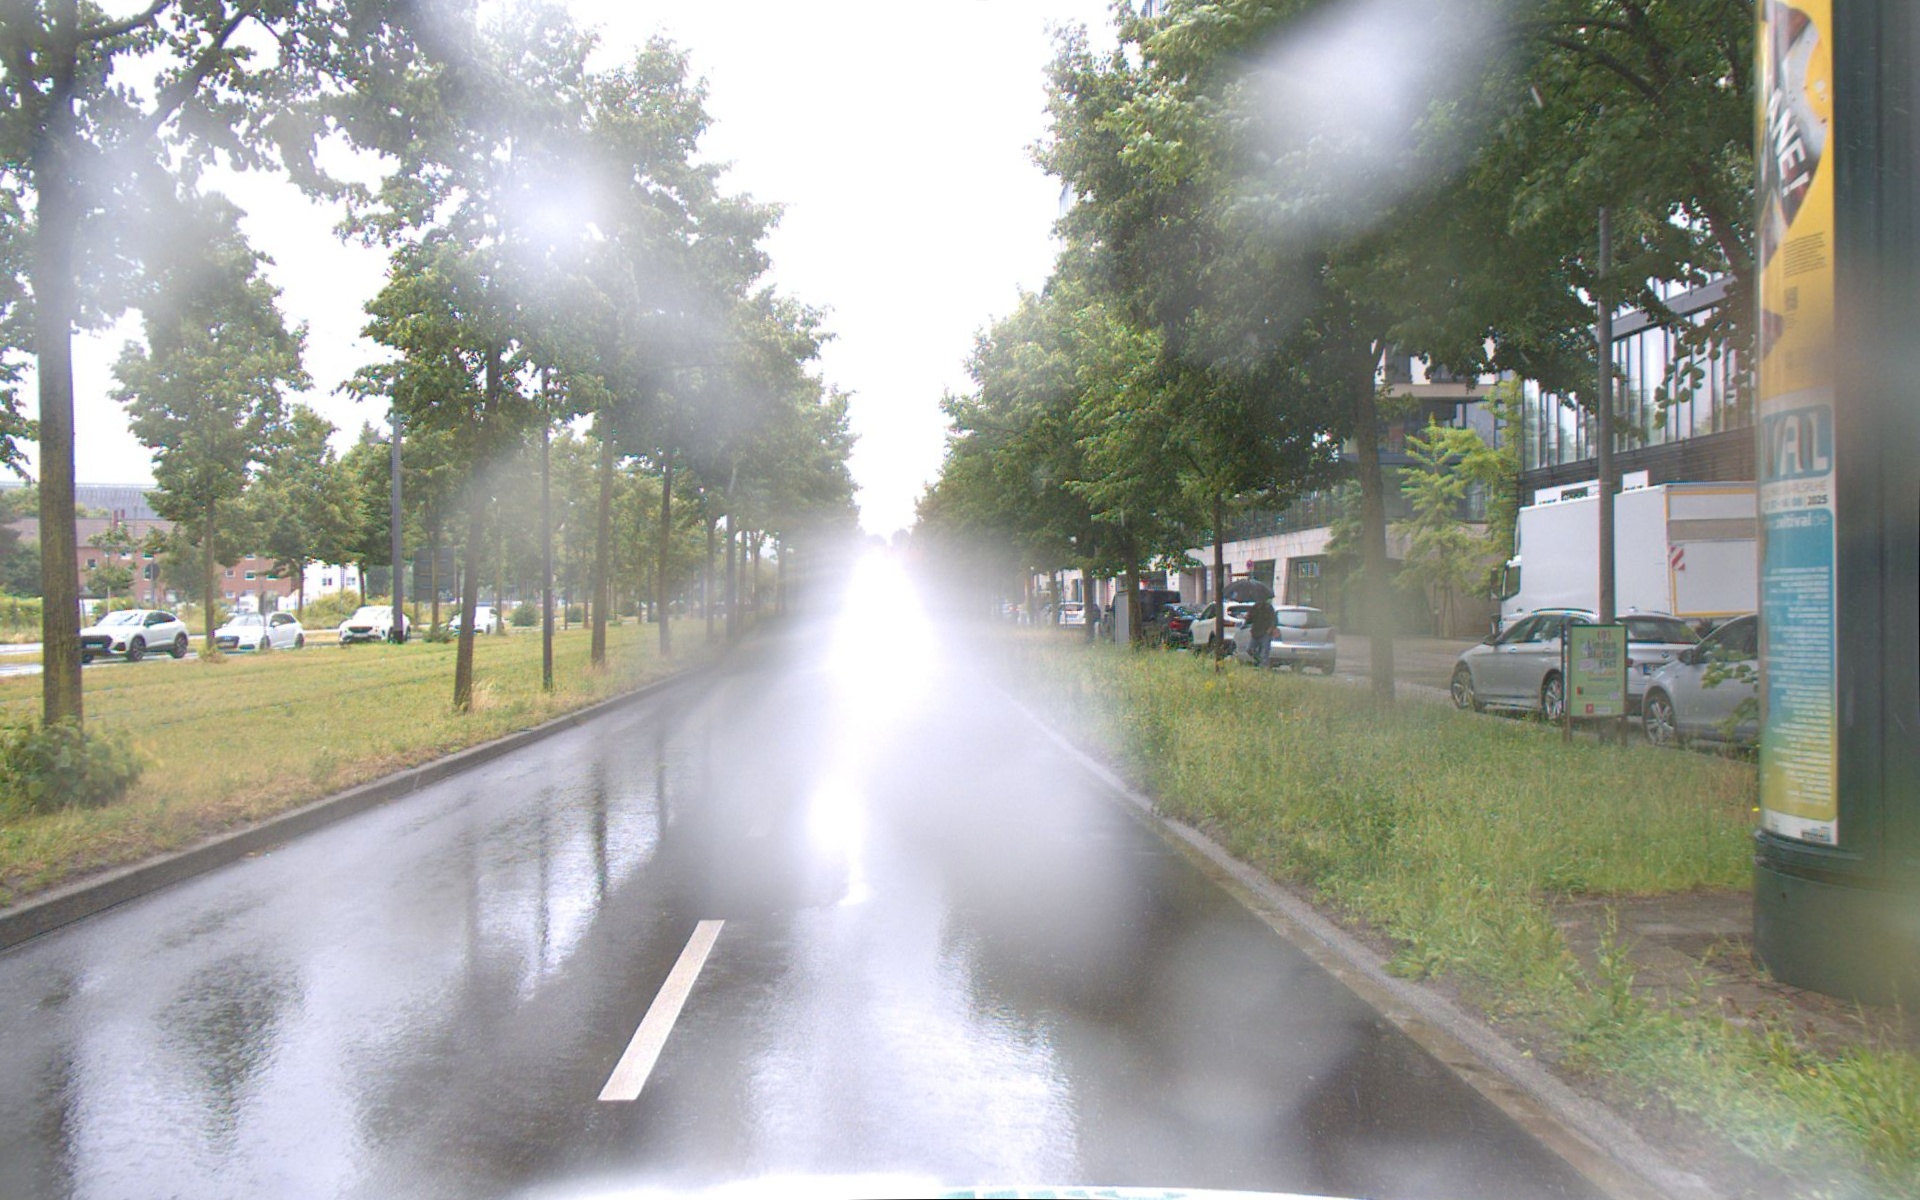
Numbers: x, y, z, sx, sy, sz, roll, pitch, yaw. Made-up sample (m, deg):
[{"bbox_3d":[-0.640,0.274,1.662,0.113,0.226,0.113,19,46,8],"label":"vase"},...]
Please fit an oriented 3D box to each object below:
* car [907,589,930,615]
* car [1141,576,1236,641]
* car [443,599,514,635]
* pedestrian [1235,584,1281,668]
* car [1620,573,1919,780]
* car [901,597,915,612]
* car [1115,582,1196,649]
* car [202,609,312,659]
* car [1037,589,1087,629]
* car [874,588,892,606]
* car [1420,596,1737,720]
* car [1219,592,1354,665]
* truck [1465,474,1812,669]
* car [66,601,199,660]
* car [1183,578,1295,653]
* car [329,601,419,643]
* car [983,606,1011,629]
[{"bbox_3d":[-3.588,0.182,142.096,1.901,2.048,3.999,-1,2,-2],"label":"car"},{"bbox_3d":[6.747,0.193,49.302,1.953,1.698,4.957,-1,2,-3],"label":"car"},{"bbox_3d":[-22.835,0.783,78.607,1.910,1.486,4.833,0,2,1],"label":"car"},{"bbox_3d":[5.481,0.466,30.460,0.684,1.519,0.643,0,0,-6],"label":"pedestrian"},{"bbox_3d":[8.125,0.609,15.974,1.725,1.624,4.099,-1,2,-3],"label":"car"},{"bbox_3d":[-7.701,0.679,246.958,1.953,2.048,4.001,0,2,0],"label":"car"},{"bbox_3d":[6.601,0.478,56.388,1.953,1.986,5.028,-1,2,-3],"label":"car"},{"bbox_3d":[-23.322,1.105,55.057,1.912,1.540,4.573,0,0,-3],"label":"car"},{"bbox_3d":[4.939,0.402,80.767,1.953,1.698,4.722,-1,2,-3],"label":"car"},{"bbox_3d":[-9.307,-0.363,199.818,1.953,2.048,4.001,0,2,0],"label":"car"},{"bbox_3d":[8.174,0.693,22.502,1.955,1.469,5.231,0,0,-6],"label":"car"},{"bbox_3d":[7.275,0.598,37.330,1.735,1.477,4.719,0,1,-5],"label":"car"},{"bbox_3d":[13.546,-0.533,34.064,2.966,3.501,8.538,0,0,-5],"label":"truck"},{"bbox_3d":[-26.219,0.922,52.575,1.911,1.780,4.576,0,0,0],"label":"car"},{"bbox_3d":[7.208,0.343,43.230,1.953,1.698,4.722,-1,2,-3],"label":"car"},{"bbox_3d":[-21.890,0.803,61.951,1.912,1.478,4.573,0,0,-3],"label":"car"},{"bbox_3d":[2.784,1.335,126.691,1.843,1.532,4.722,-1,2,-3],"label":"car"}]
